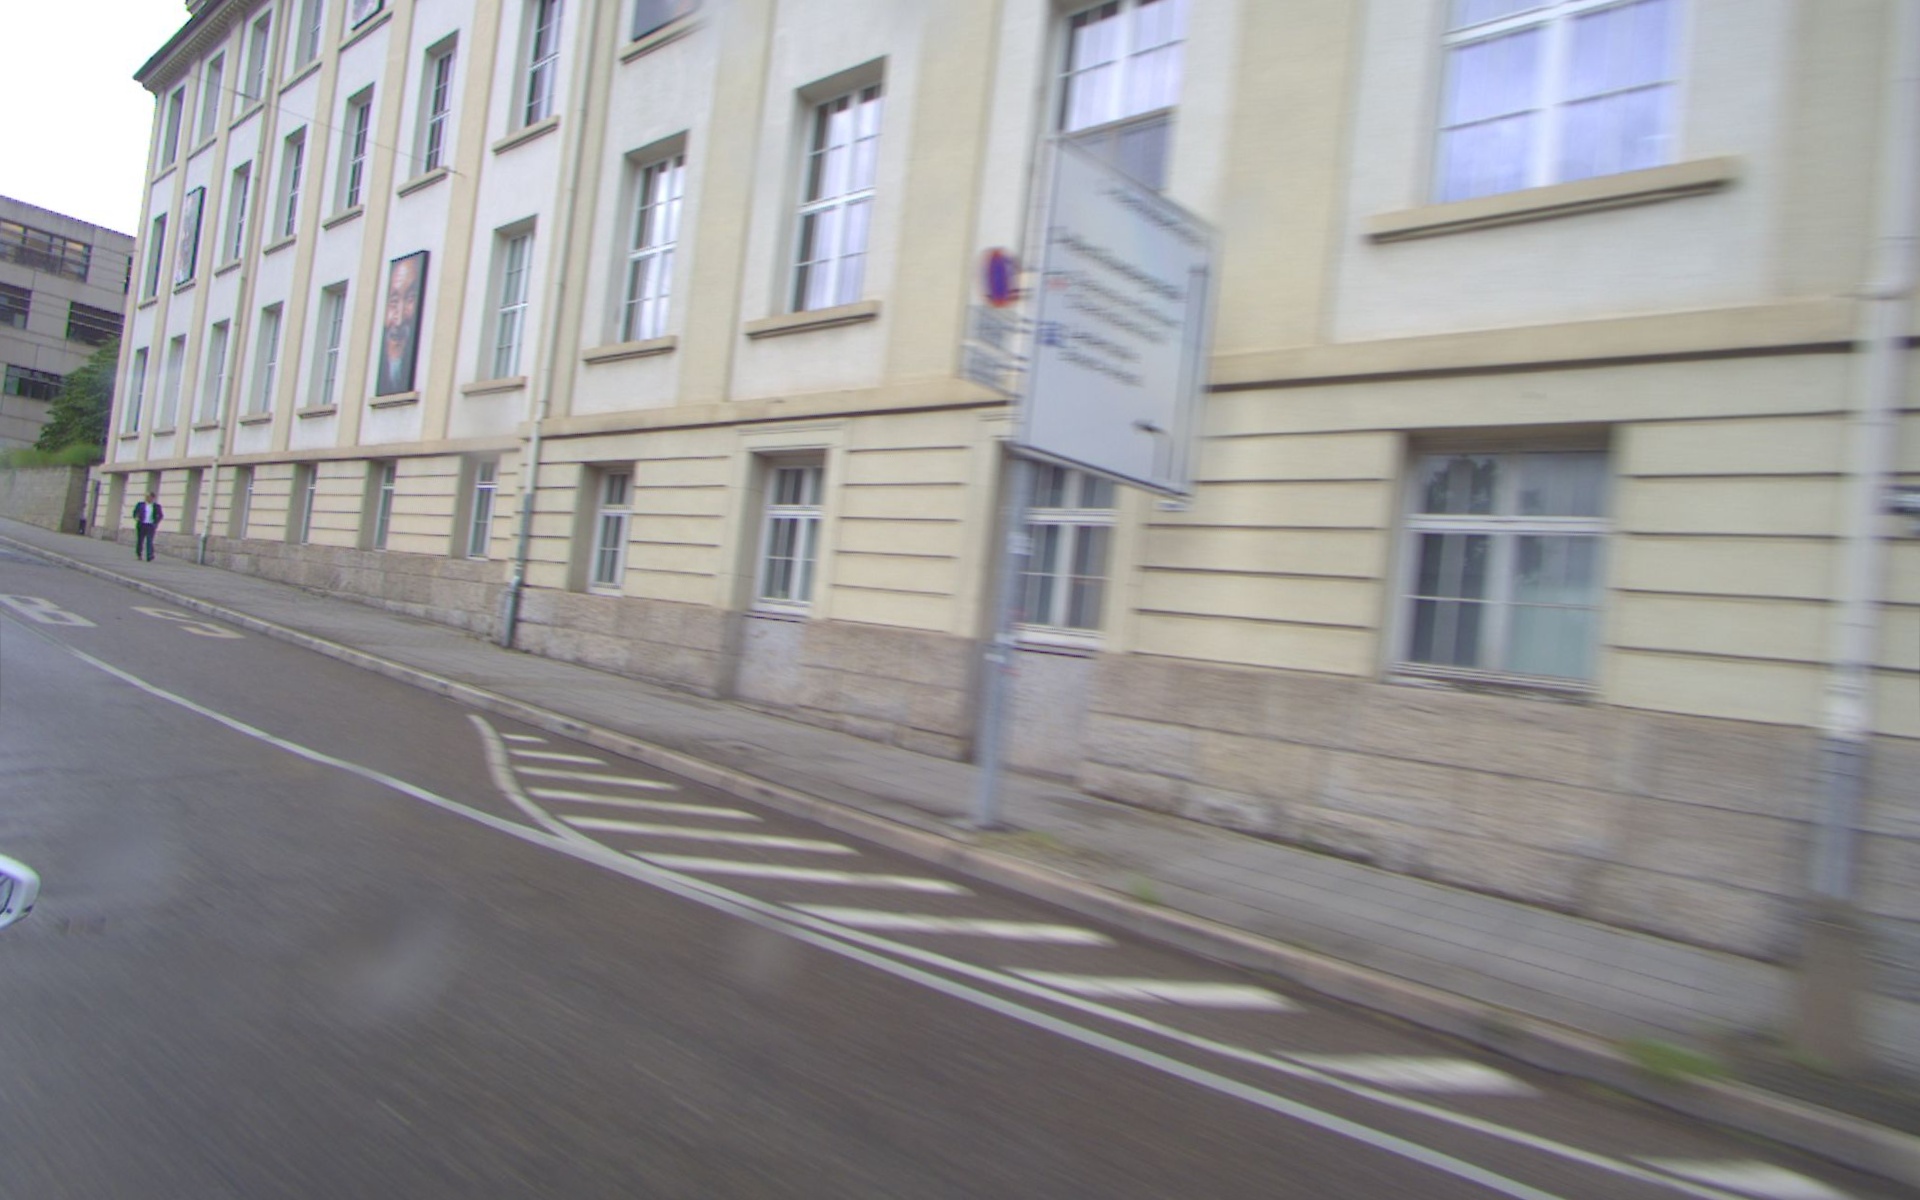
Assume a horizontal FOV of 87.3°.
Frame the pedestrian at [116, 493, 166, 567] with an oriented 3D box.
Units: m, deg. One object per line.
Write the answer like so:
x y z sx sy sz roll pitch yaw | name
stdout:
-21.579 -1.834 26.502 0.839 1.818 0.670 6 -2 40 | pedestrian
